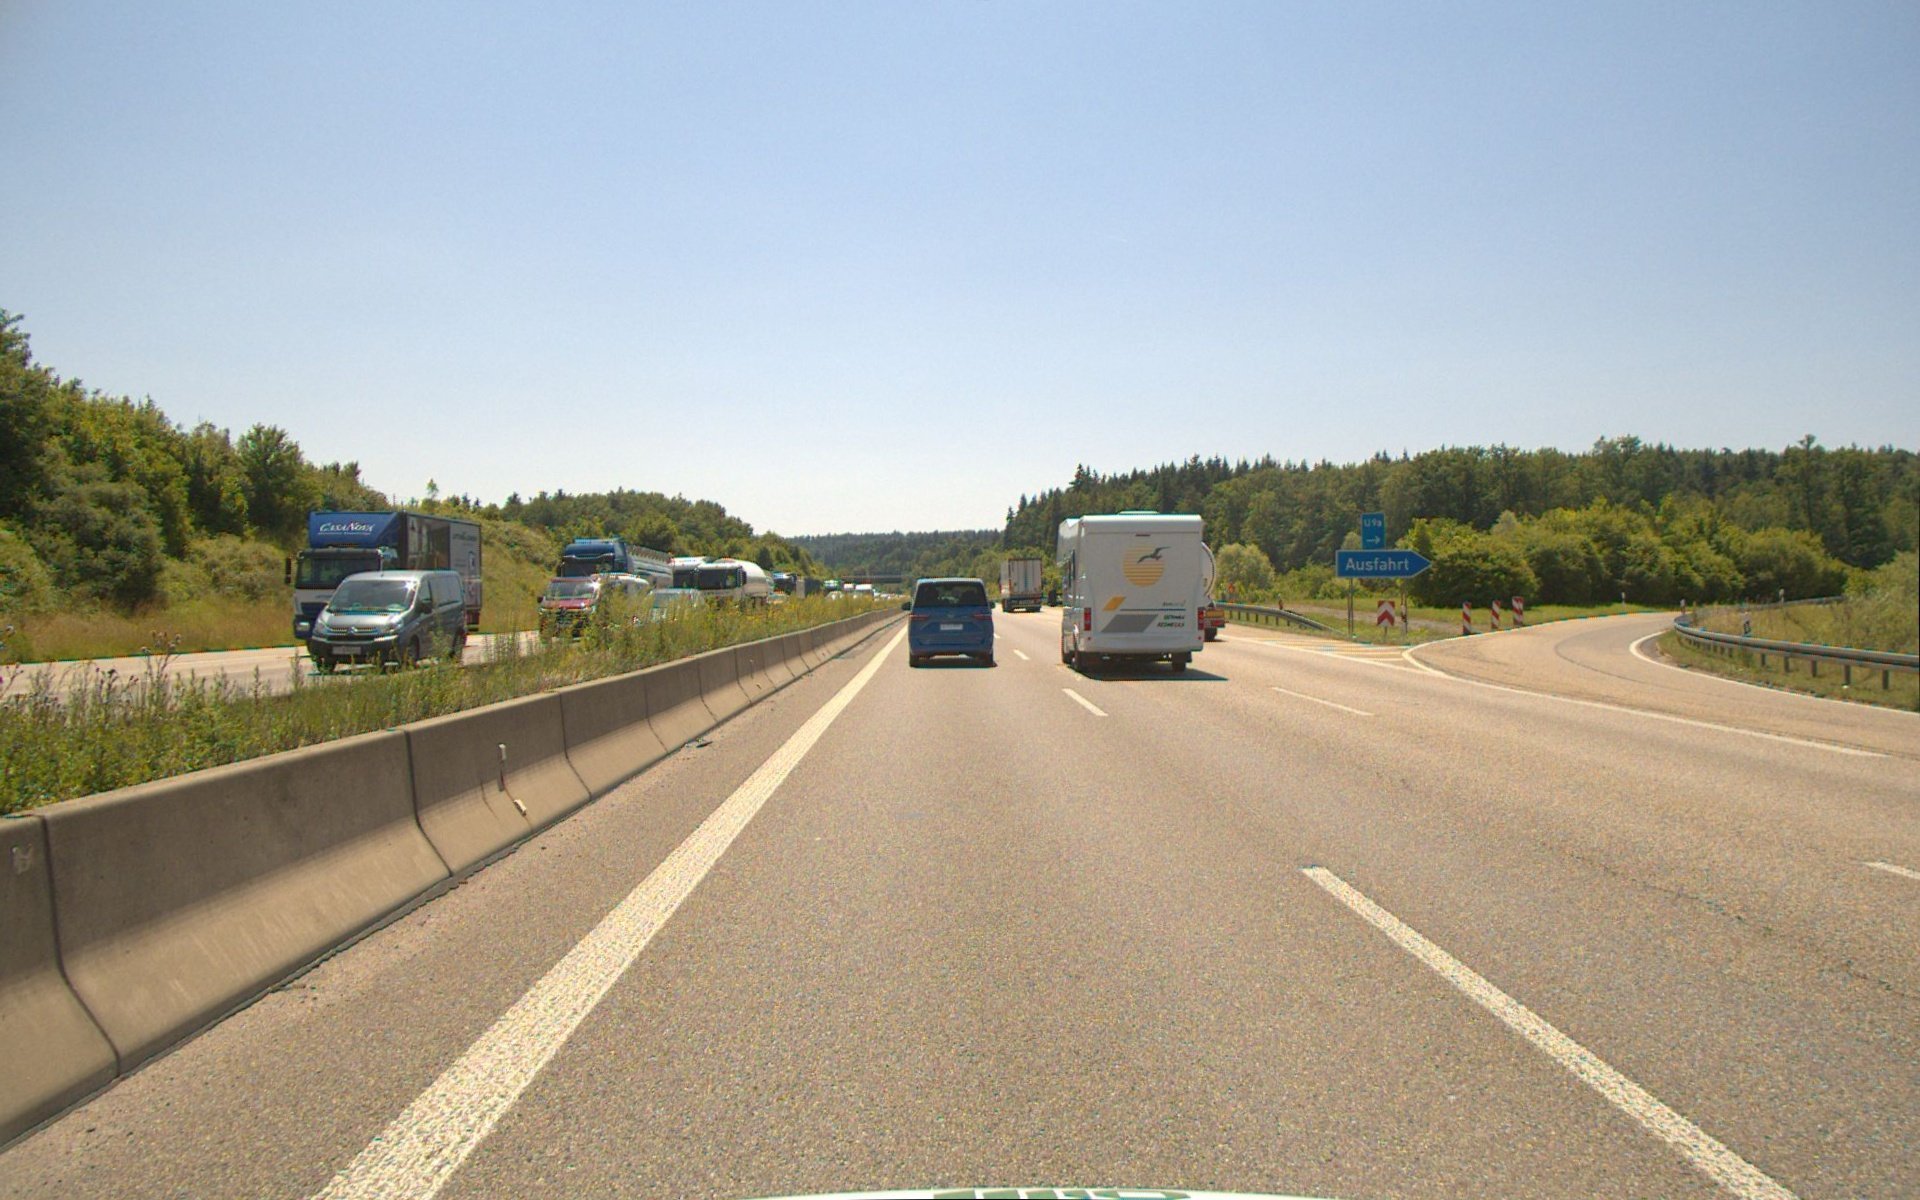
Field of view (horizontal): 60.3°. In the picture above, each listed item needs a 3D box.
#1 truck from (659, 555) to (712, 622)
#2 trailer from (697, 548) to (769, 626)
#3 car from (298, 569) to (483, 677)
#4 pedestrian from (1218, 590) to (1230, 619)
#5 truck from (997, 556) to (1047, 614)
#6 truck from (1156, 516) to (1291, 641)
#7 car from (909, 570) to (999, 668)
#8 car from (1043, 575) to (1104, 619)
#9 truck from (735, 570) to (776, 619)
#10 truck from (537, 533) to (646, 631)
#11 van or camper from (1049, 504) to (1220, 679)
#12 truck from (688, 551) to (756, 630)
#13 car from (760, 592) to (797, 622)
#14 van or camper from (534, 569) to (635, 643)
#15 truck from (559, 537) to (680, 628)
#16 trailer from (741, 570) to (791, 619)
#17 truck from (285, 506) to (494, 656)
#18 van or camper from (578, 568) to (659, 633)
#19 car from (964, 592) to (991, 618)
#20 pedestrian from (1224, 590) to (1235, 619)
[{"bbox_3d":[-17.393,-0.692,105.348,2.045,4.099,7.876,1,0,0],"label":"truck"},{"bbox_3d":[-12.687,-0.682,93.447,2.626,4.018,11.641,-3,0,-2],"label":"trailer"},{"bbox_3d":[-11.247,0.437,33.084,1.982,1.992,5.093,0,0,-1],"label":"car"},{"bbox_3d":[19.141,0.313,119.814,0.674,2.116,0.928,1,-1,-1],"label":"pedestrian"},{"bbox_3d":[4.772,-1.107,128.717,3.416,4.243,8.639,1,0,-1],"label":"truck"},{"bbox_3d":[8.281,-0.687,53.012,2.868,3.637,8.525,-1,1,-1],"label":"truck"},{"bbox_3d":[-0.150,0.422,37.168,1.870,2.049,3.999,-1,0,-1],"label":"car"},{"bbox_3d":[4.061,-0.104,59.831,1.870,1.501,3.999,-1,0,-1],"label":"car"},{"bbox_3d":[-17.076,-0.420,138.562,2.637,3.946,6.316,0,0,0],"label":"truck"},{"bbox_3d":[-16.426,-0.748,74.231,3.419,4.107,6.642,1,0,-1],"label":"truck"},{"bbox_3d":[3.371,-0.132,33.689,2.550,3.132,7.180,1,0,-1],"label":"van or camper"},{"bbox_3d":[-12.466,-0.465,87.226,2.565,3.958,7.401,-1,0,-1],"label":"truck"},{"bbox_3d":[-12.890,0.485,117.829,2.043,2.099,5.058,-1,0,0],"label":"car"},{"bbox_3d":[-11.953,0.191,53.016,1.953,2.190,5.953,-1,0,-1],"label":"van or camper"},{"bbox_3d":[-16.593,-0.837,81.665,3.505,4.165,12.577,0,0,-1],"label":"truck"},{"bbox_3d":[-17.023,-0.433,145.663,2.624,4.019,13.245,1,0,1],"label":"trailer"},{"bbox_3d":[-15.594,-0.454,46.123,2.493,3.739,9.935,0,0,-1],"label":"truck"},{"bbox_3d":[-12.060,0.033,58.758,1.953,2.190,4.716,-1,0,-1],"label":"van or camper"},{"bbox_3d":[1.249,0.355,118.180,1.781,1.825,3.893,1,0,-1],"label":"car"},{"bbox_3d":[19.888,0.341,122.109,0.674,2.116,0.928,1,-1,-1],"label":"pedestrian"}]
